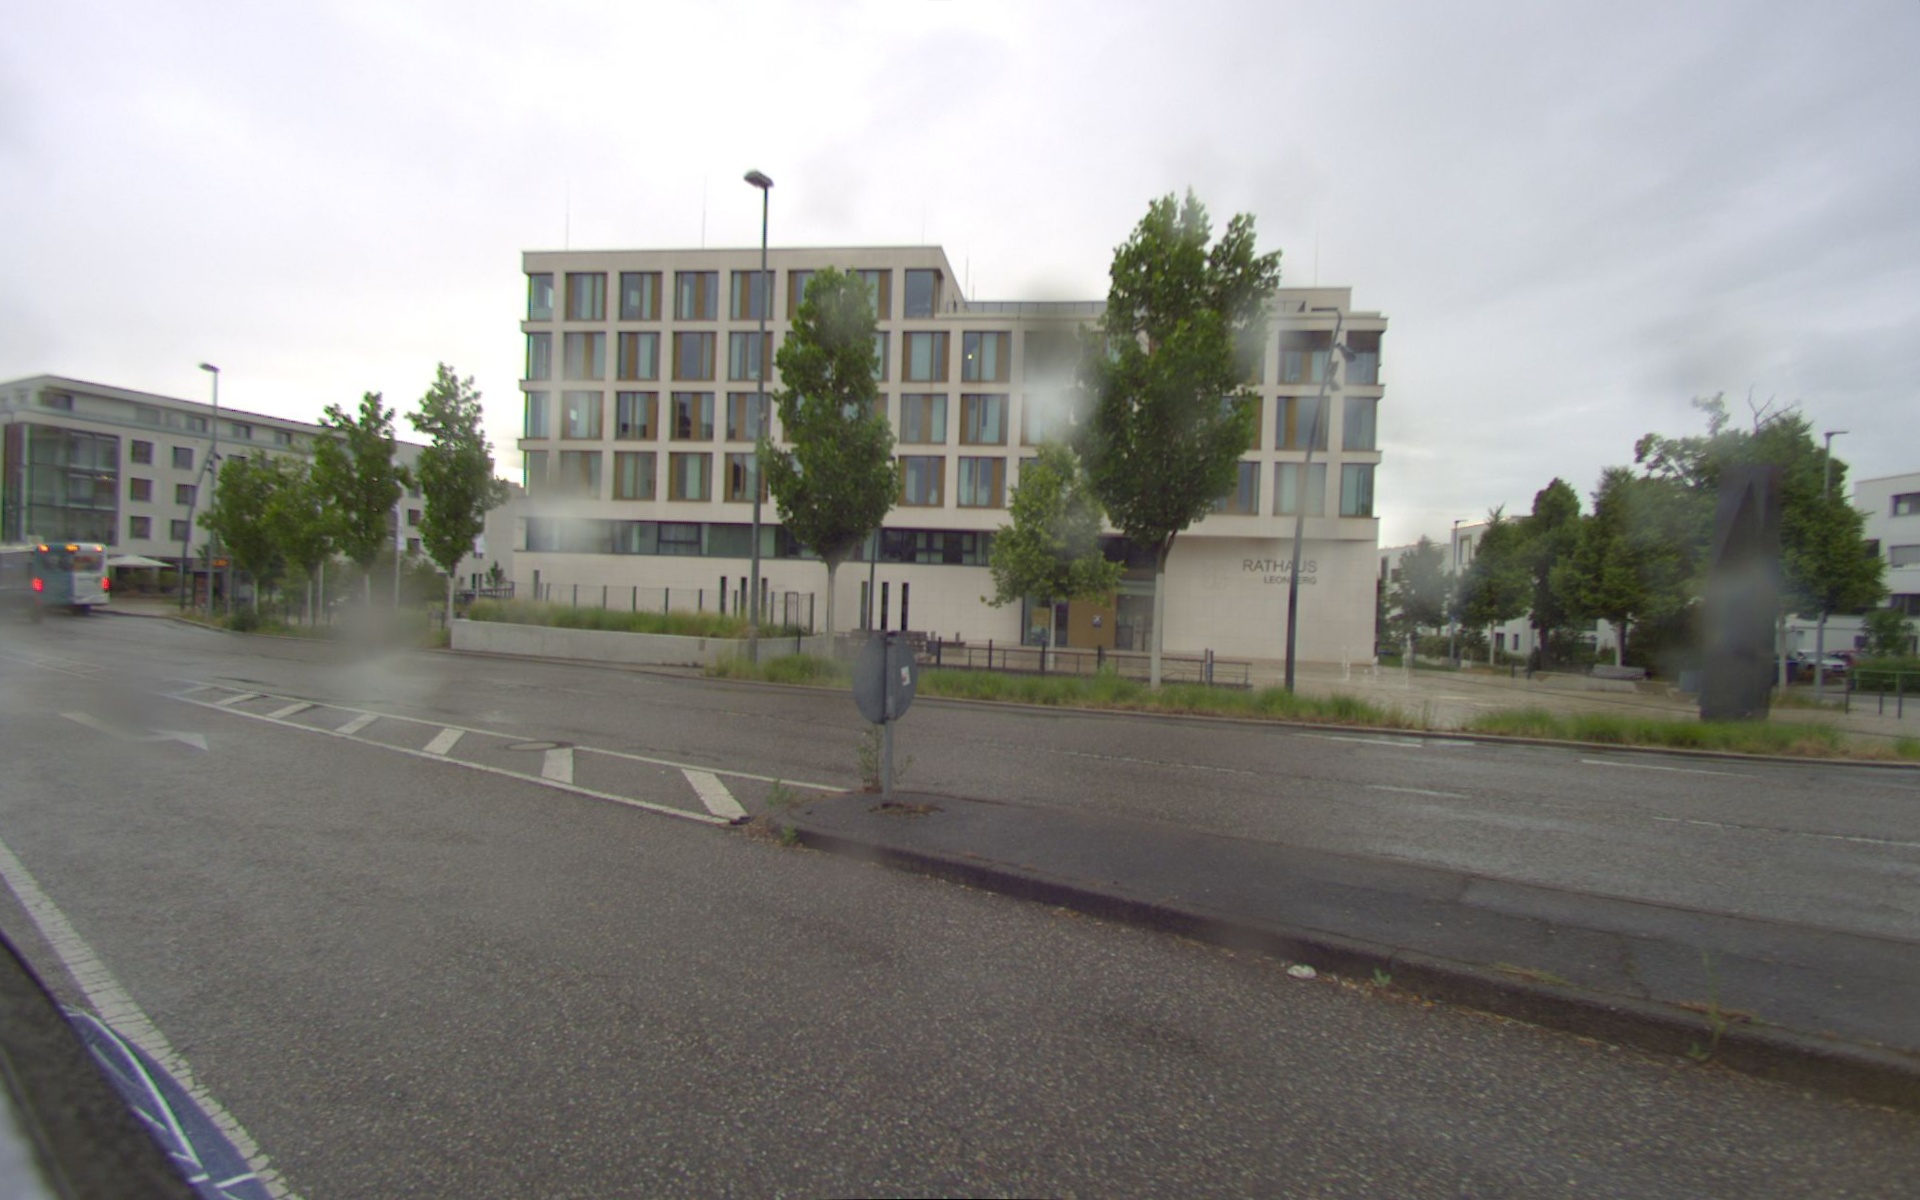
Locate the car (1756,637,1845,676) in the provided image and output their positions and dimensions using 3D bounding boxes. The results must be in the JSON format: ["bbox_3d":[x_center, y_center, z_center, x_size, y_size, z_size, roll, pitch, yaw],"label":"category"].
[{"bbox_3d":[48.100,3.200,58.033,1.766,2.029,3.999,0,0,0],"label":"car"}]

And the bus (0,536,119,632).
[{"bbox_3d":[-46.139,-0.677,49.497,18.187,4.025,2.918,0,-2,35],"label":"bus"}]

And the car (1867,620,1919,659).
[{"bbox_3d":[53.002,2.162,56.165,1.766,2.029,3.999,0,0,0],"label":"car"}]

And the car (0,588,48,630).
[{"bbox_3d":[-35.908,0.296,38.216,3.942,1.439,1.795,2,2,42],"label":"car"}]
